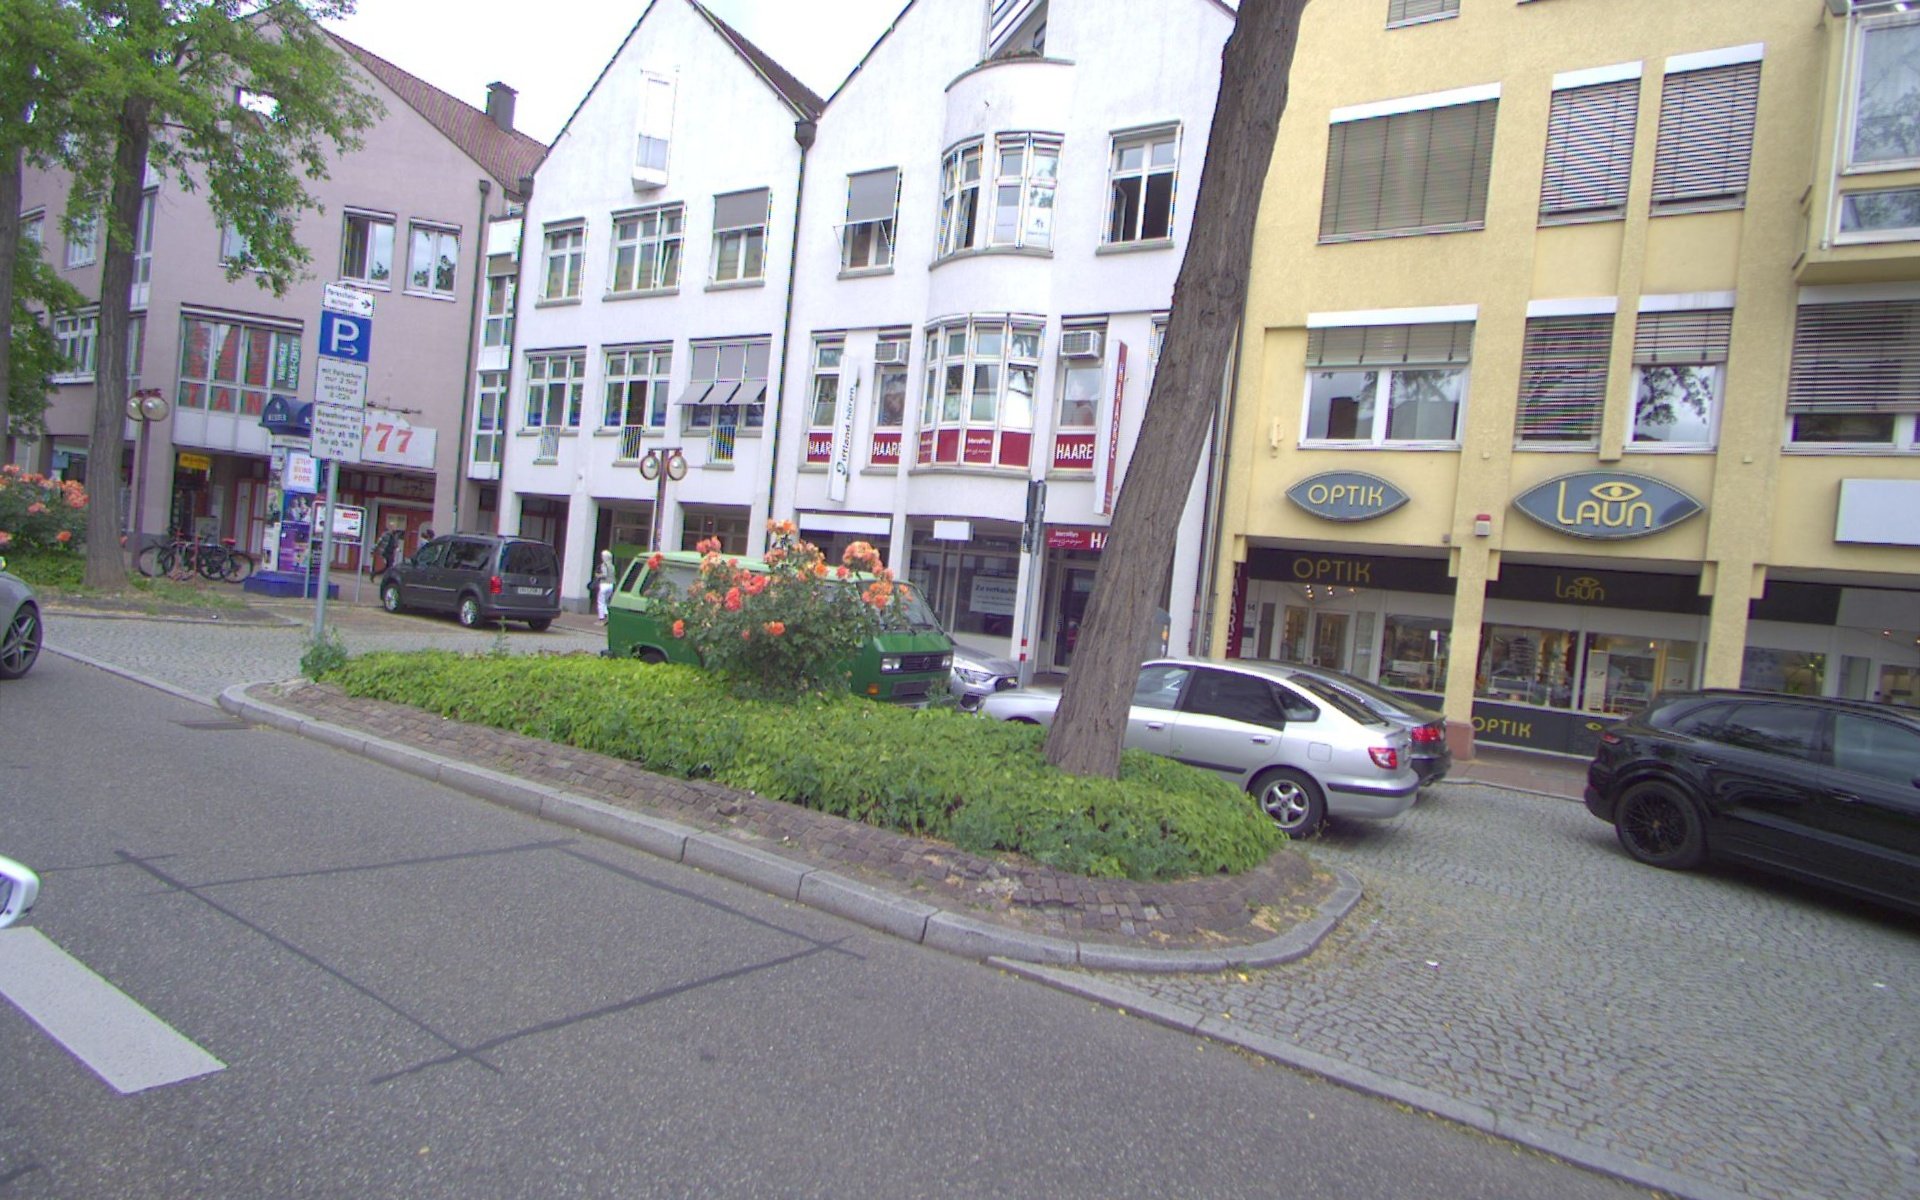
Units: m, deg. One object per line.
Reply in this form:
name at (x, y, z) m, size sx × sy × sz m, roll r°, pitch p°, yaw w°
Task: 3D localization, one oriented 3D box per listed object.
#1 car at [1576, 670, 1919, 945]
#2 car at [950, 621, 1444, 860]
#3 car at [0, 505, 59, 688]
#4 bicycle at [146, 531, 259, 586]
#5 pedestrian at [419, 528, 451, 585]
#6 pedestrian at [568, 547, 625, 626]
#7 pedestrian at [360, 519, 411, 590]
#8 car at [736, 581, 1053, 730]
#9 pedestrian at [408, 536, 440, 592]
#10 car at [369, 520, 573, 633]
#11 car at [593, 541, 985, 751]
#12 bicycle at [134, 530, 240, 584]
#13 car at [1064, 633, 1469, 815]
car at (7.724, 1.716, 7.928) m, size 1.832 × 1.692 × 4.641 m, roll 6°, pitch 1°, yaw -19°
car at (2.274, 1.216, 9.999) m, size 4.344 × 1.468 × 1.765 m, roll 7°, pitch 0°, yaw 30°
car at (-7.870, -0.105, 6.510) m, size 1.800 × 1.465 × 4.342 m, roll 8°, pitch -2°, yaw -26°
bicycle at (-16.878, -0.909, 22.472) m, size 0.460 × 1.009 × 1.901 m, roll 7°, pitch 0°, yaw 36°
pedestrian at (-15.458, -1.269, 29.635) m, size 0.613 × 1.583 × 0.662 m, roll 6°, pitch 1°, yaw -20°
pedestrian at (-8.260, -0.298, 22.879) m, size 0.805 × 1.682 × 0.789 m, roll 7°, pitch 3°, yaw 31°
pedestrian at (-15.915, -1.258, 27.880) m, size 0.805 × 1.815 × 0.789 m, roll 7°, pitch 1°, yaw 31°
car at (-1.023, 0.736, 14.922) m, size 4.320 × 1.562 × 1.797 m, roll 7°, pitch 2°, yaw 30°
pedestrian at (-15.371, -1.023, 28.866) m, size 0.613 × 1.534 × 0.608 m, roll 6°, pitch 1°, yaw -22°
car at (-10.038, -0.492, 20.617) m, size 3.898 × 1.855 × 1.639 m, roll 7°, pitch 1°, yaw 28°
car at (-2.193, 0.462, 12.529) m, size 4.527 × 1.901 × 1.882 m, roll 7°, pitch 2°, yaw 30°
bicycle at (-17.392, -0.953, 22.676) m, size 0.440 × 1.009 × 1.769 m, roll 7°, pitch 0°, yaw 36°
car at (3.732, 1.370, 12.414) m, size 4.344 × 1.394 × 1.999 m, roll 7°, pitch 1°, yaw 30°
